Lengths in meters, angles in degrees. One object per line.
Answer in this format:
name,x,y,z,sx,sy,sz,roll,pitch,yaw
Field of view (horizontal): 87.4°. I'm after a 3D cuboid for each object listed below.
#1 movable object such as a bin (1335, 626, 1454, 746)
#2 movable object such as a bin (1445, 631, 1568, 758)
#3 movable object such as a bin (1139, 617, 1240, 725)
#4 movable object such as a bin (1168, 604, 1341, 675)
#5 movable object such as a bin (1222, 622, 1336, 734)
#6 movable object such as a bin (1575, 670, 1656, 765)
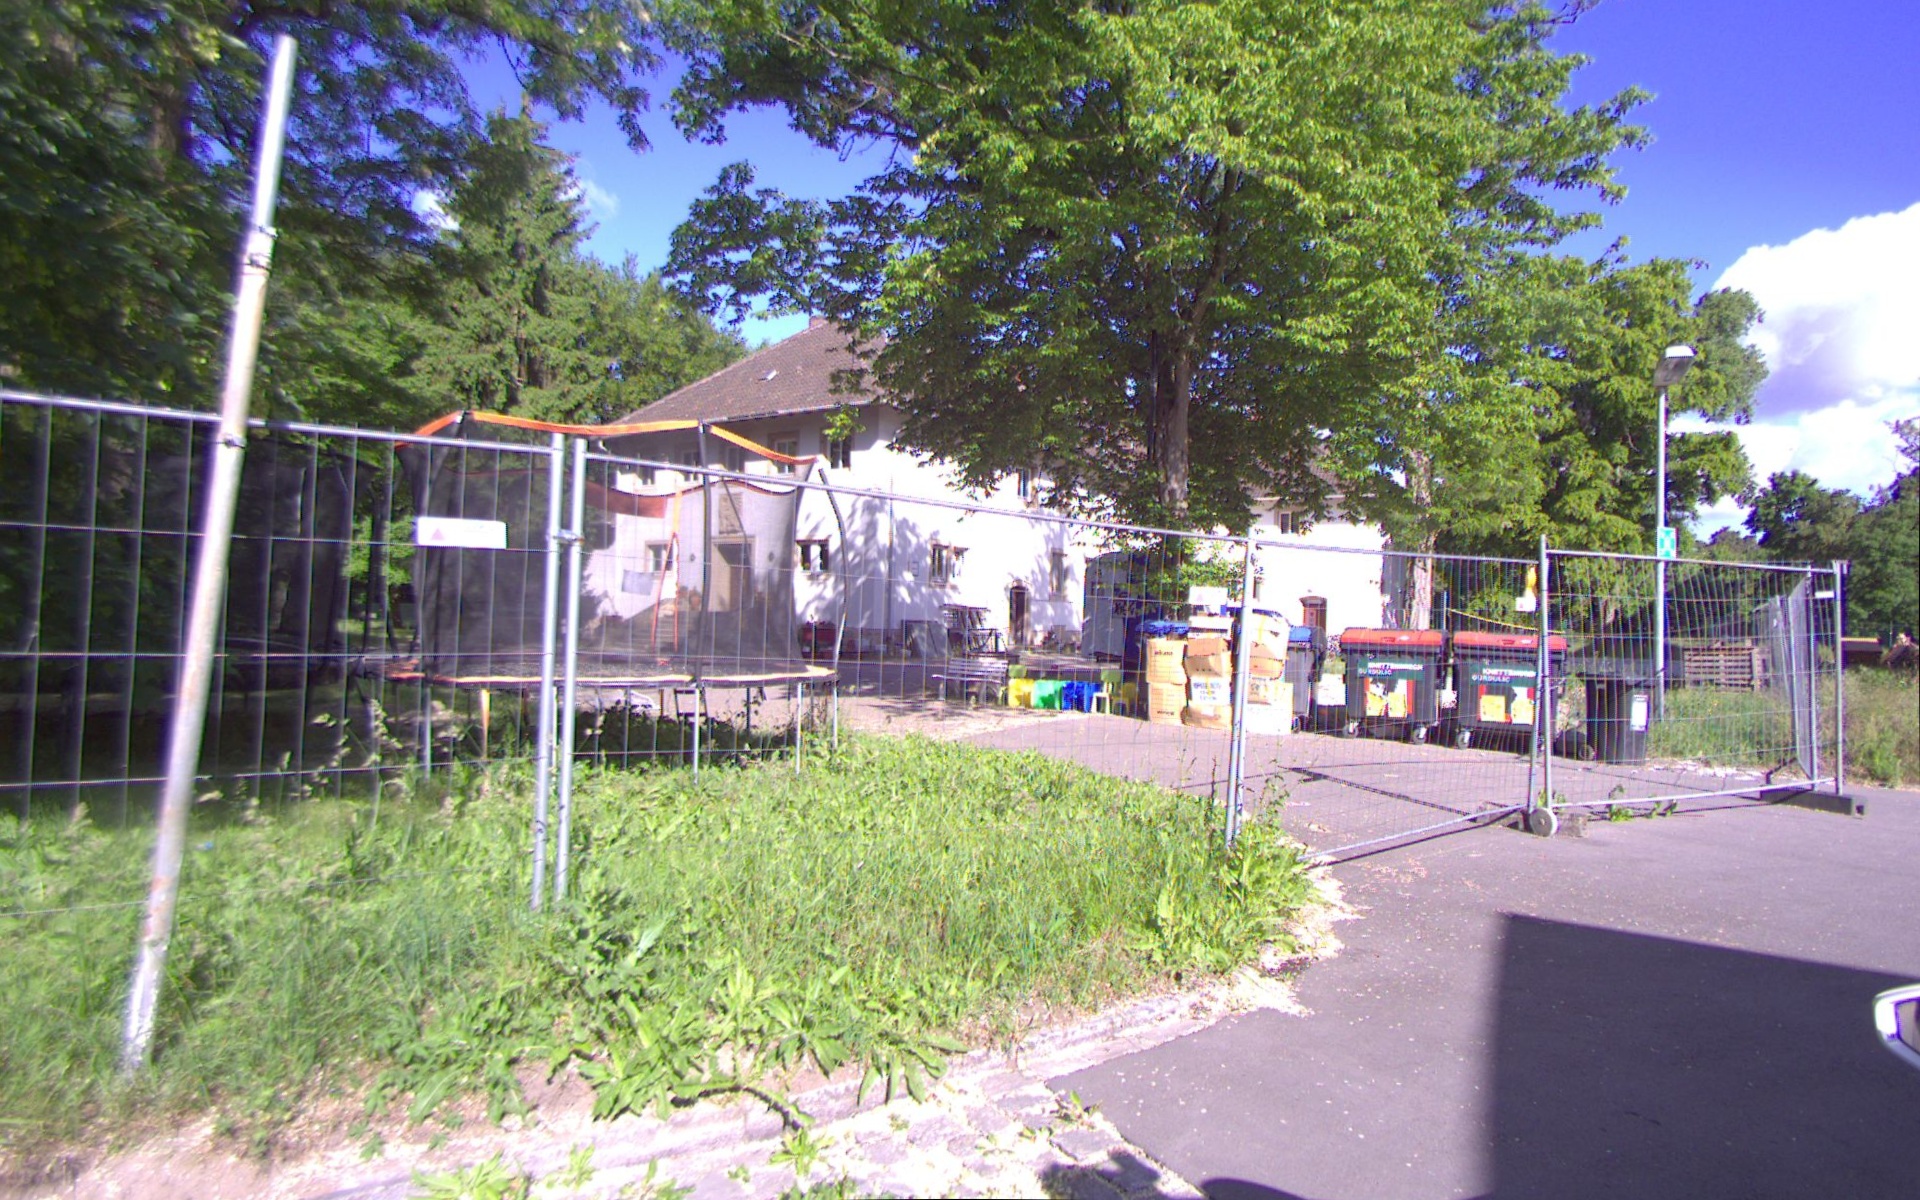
movable object such as a bin,5.696,1.084,13.162,1.269,1.445,1.030,1,-1,33
movable object such as a bin,6.787,1.124,12.462,1.269,1.445,1.030,1,-1,31
movable object such as a bin,3.318,1.000,14.522,1.070,1.457,1.052,1,-1,37
movable object such as a bin,9.127,1.183,31.291,4.804,1.996,1.928,1,-1,33
movable object such as a bin,4.465,1.059,14.043,1.269,1.445,1.030,1,-1,33
movable object such as a bin,7.616,1.349,11.669,0.600,1.020,0.636,2,-1,-39
